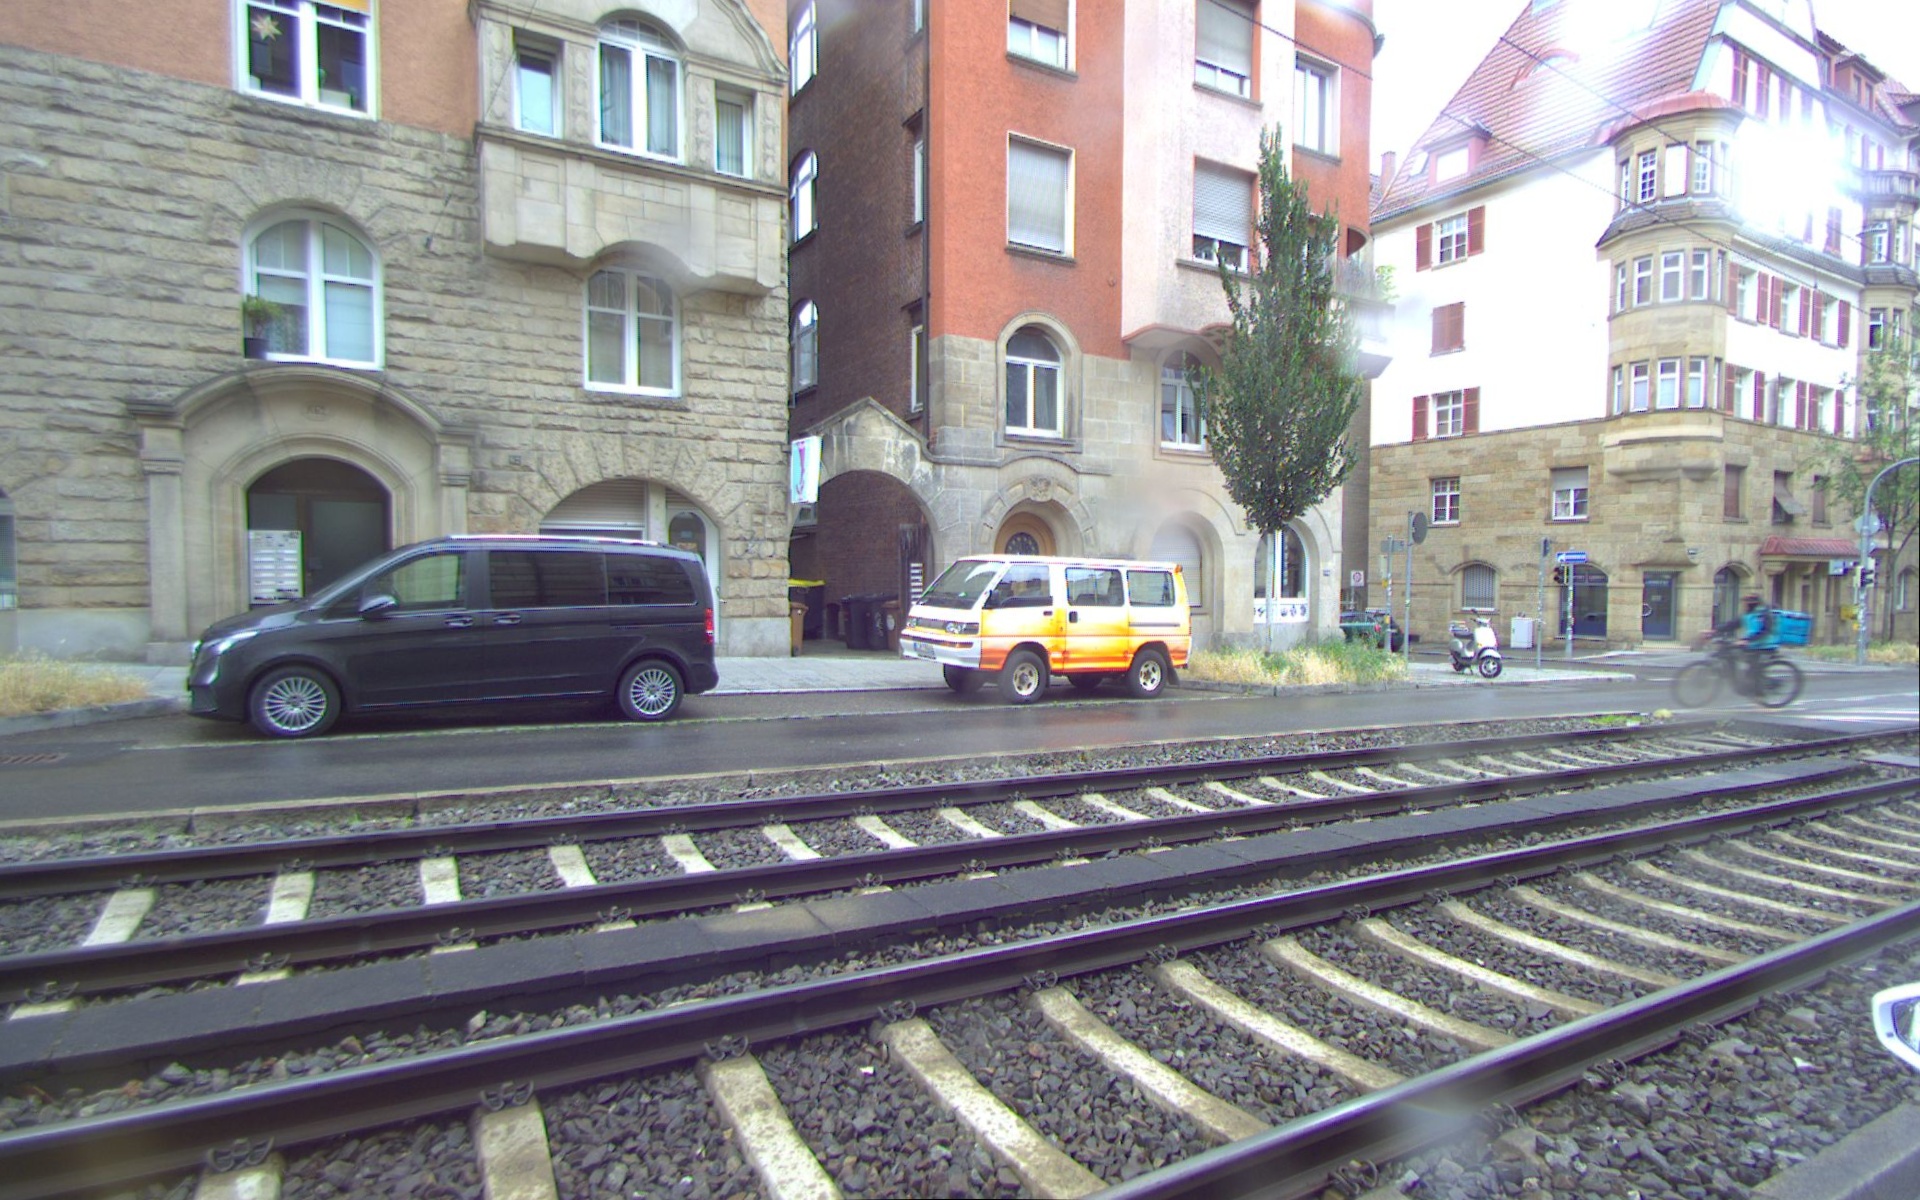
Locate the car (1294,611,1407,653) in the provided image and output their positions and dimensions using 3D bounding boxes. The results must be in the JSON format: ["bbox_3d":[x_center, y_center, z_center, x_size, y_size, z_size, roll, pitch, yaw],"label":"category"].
[{"bbox_3d":[14.456,1.163,37.338,1.683,1.423,3.618,2,0,-34],"label":"car"}]

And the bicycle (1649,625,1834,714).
[{"bbox_3d":[11.633,1.010,15.019,1.996,1.202,0.827,2,0,9],"label":"bicycle"}]

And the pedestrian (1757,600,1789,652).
[{"bbox_3d":[26.974,0.864,33.341,0.695,1.695,0.627,2,0,-34],"label":"pedestrian"}]

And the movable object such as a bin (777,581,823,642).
[{"bbox_3d":[-3.617,0.244,22.652,0.676,1.324,1.154,1,1,-26],"label":"movable object such as a bin"}]

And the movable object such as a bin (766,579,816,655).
[{"bbox_3d":[-3.113,0.306,18.459,0.648,1.360,0.903,1,1,-27],"label":"movable object such as a bin"}]

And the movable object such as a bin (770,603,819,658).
[{"bbox_3d":[-2.898,0.527,17.586,0.627,0.918,0.793,1,1,-27],"label":"movable object such as a bin"}]

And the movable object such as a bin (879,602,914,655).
[{"bbox_3d":[-1.180,0.520,18.627,0.442,0.957,0.557,1,-1,-27],"label":"movable object such as a bin"}]

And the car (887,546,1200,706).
[{"bbox_3d":[1.268,0.379,14.434,4.295,2.001,1.721,2,0,-32],"label":"car"}]

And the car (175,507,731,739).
[{"bbox_3d":[-5.058,0.254,10.590,4.769,1.968,1.984,2,0,-30],"label":"car"}]

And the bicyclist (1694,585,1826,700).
[{"bbox_3d":[11.891,0.613,14.972,1.228,1.618,0.888,2,0,8],"label":"bicyclist"}]

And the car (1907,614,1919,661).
[{"bbox_3d":[34.162,1.336,34.346,3.994,1.573,1.742,2,0,-34],"label":"car"}]

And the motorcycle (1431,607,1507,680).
[{"bbox_3d":[10.099,0.835,19.995,0.612,1.384,1.596,2,0,-3],"label":"motorcycle"}]

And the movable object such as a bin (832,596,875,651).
[{"bbox_3d":[-2.090,0.450,19.681,0.607,1.052,0.793,1,-1,-27],"label":"movable object such as a bin"}]

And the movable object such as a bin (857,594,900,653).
[{"bbox_3d":[-1.553,0.445,19.135,0.607,1.090,0.679,1,-1,-27],"label":"movable object such as a bin"}]
